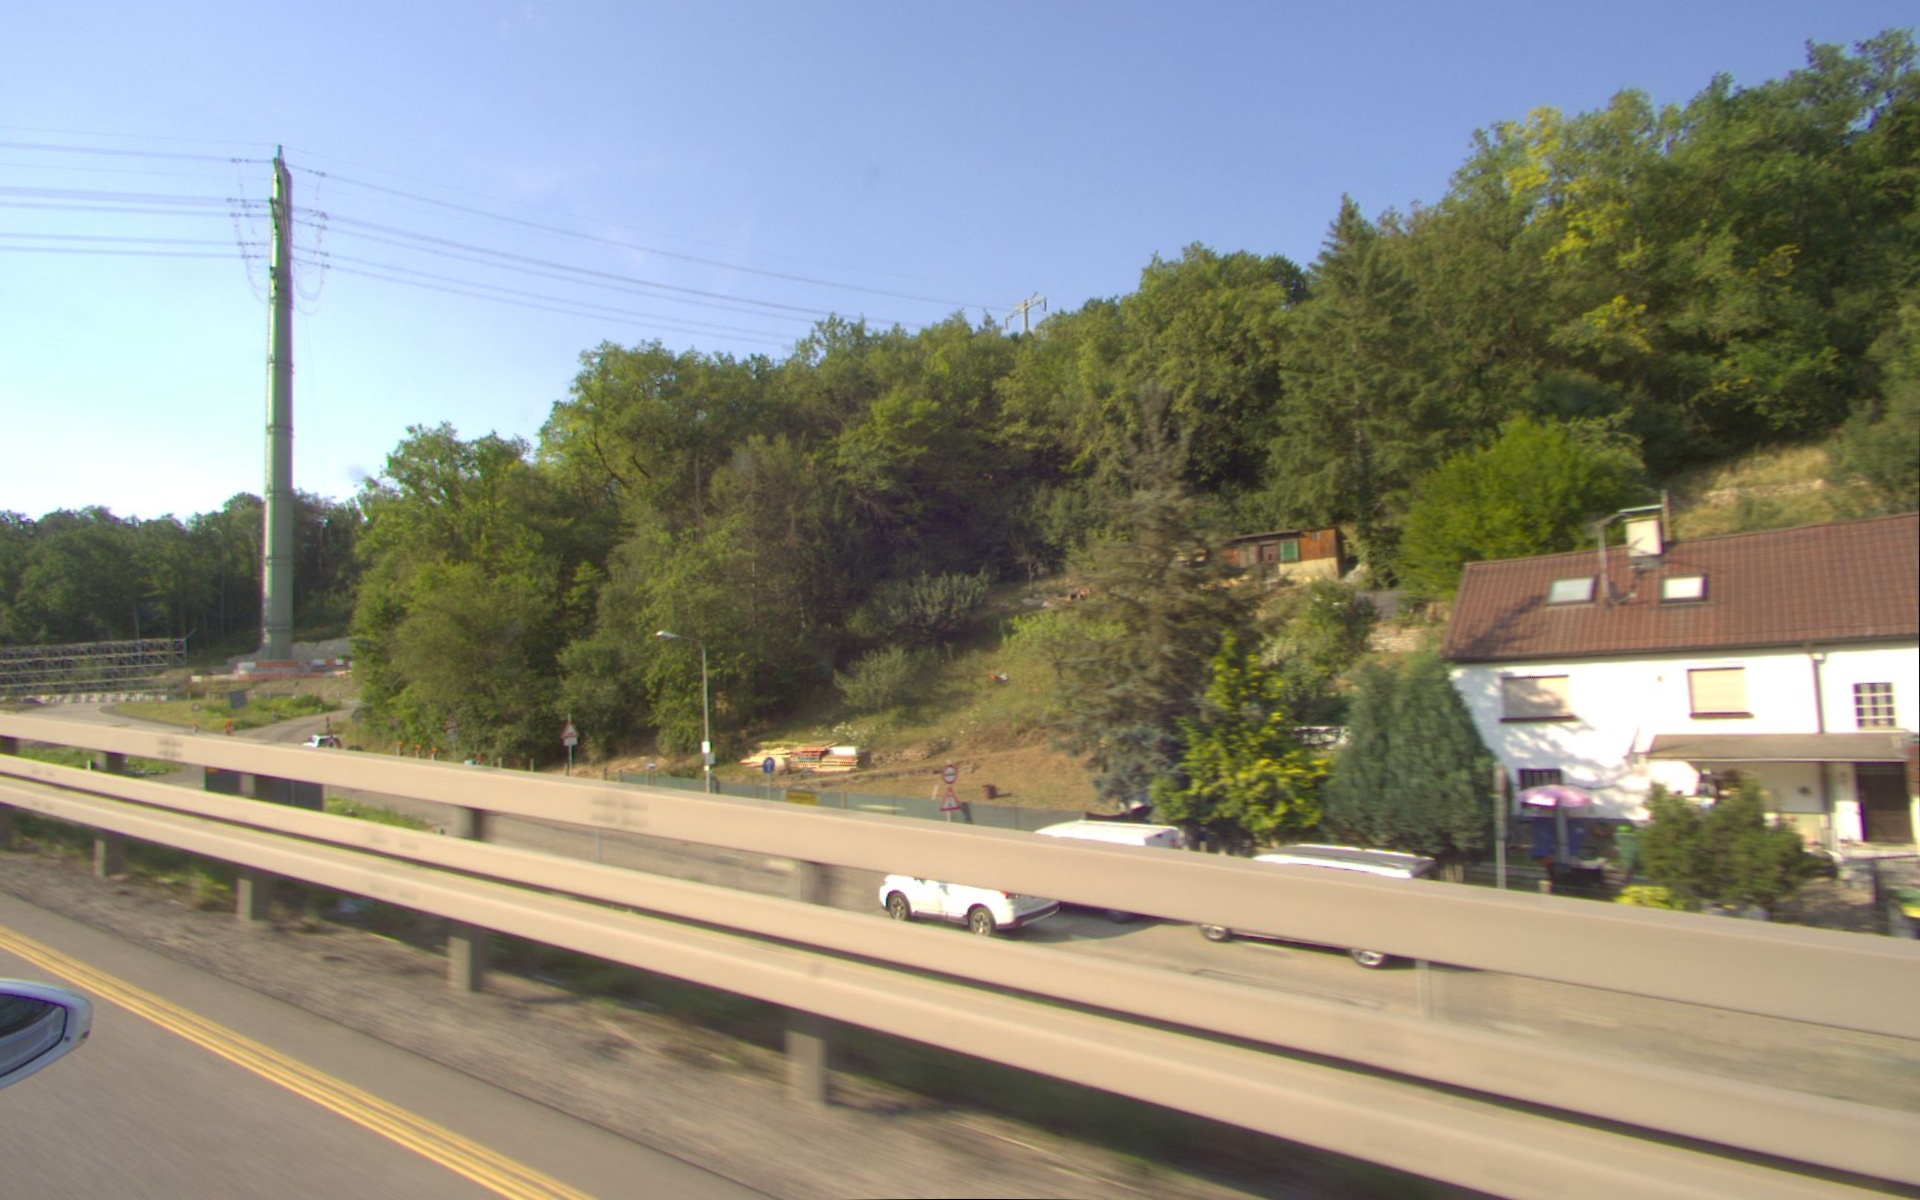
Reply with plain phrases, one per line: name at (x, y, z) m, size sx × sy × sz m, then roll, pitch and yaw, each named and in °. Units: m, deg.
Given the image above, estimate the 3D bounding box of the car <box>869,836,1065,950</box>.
car at (0.073, 6.584, 22.892) m, size 4.421 × 1.682 × 1.660 m, roll -5°, pitch -3°, yaw 40°

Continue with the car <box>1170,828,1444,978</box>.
car at (6.920, 5.974, 20.309) m, size 4.813 × 1.940 × 1.985 m, roll -5°, pitch -4°, yaw 42°

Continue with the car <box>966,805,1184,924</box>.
car at (2.685, 6.244, 24.190) m, size 4.996 × 2.010 × 1.854 m, roll -5°, pitch -4°, yaw 40°

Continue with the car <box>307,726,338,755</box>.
car at (-42.732, 9.407, 67.185) m, size 1.509 × 1.479 × 4.248 m, roll 0°, pitch -2°, yaw -30°
